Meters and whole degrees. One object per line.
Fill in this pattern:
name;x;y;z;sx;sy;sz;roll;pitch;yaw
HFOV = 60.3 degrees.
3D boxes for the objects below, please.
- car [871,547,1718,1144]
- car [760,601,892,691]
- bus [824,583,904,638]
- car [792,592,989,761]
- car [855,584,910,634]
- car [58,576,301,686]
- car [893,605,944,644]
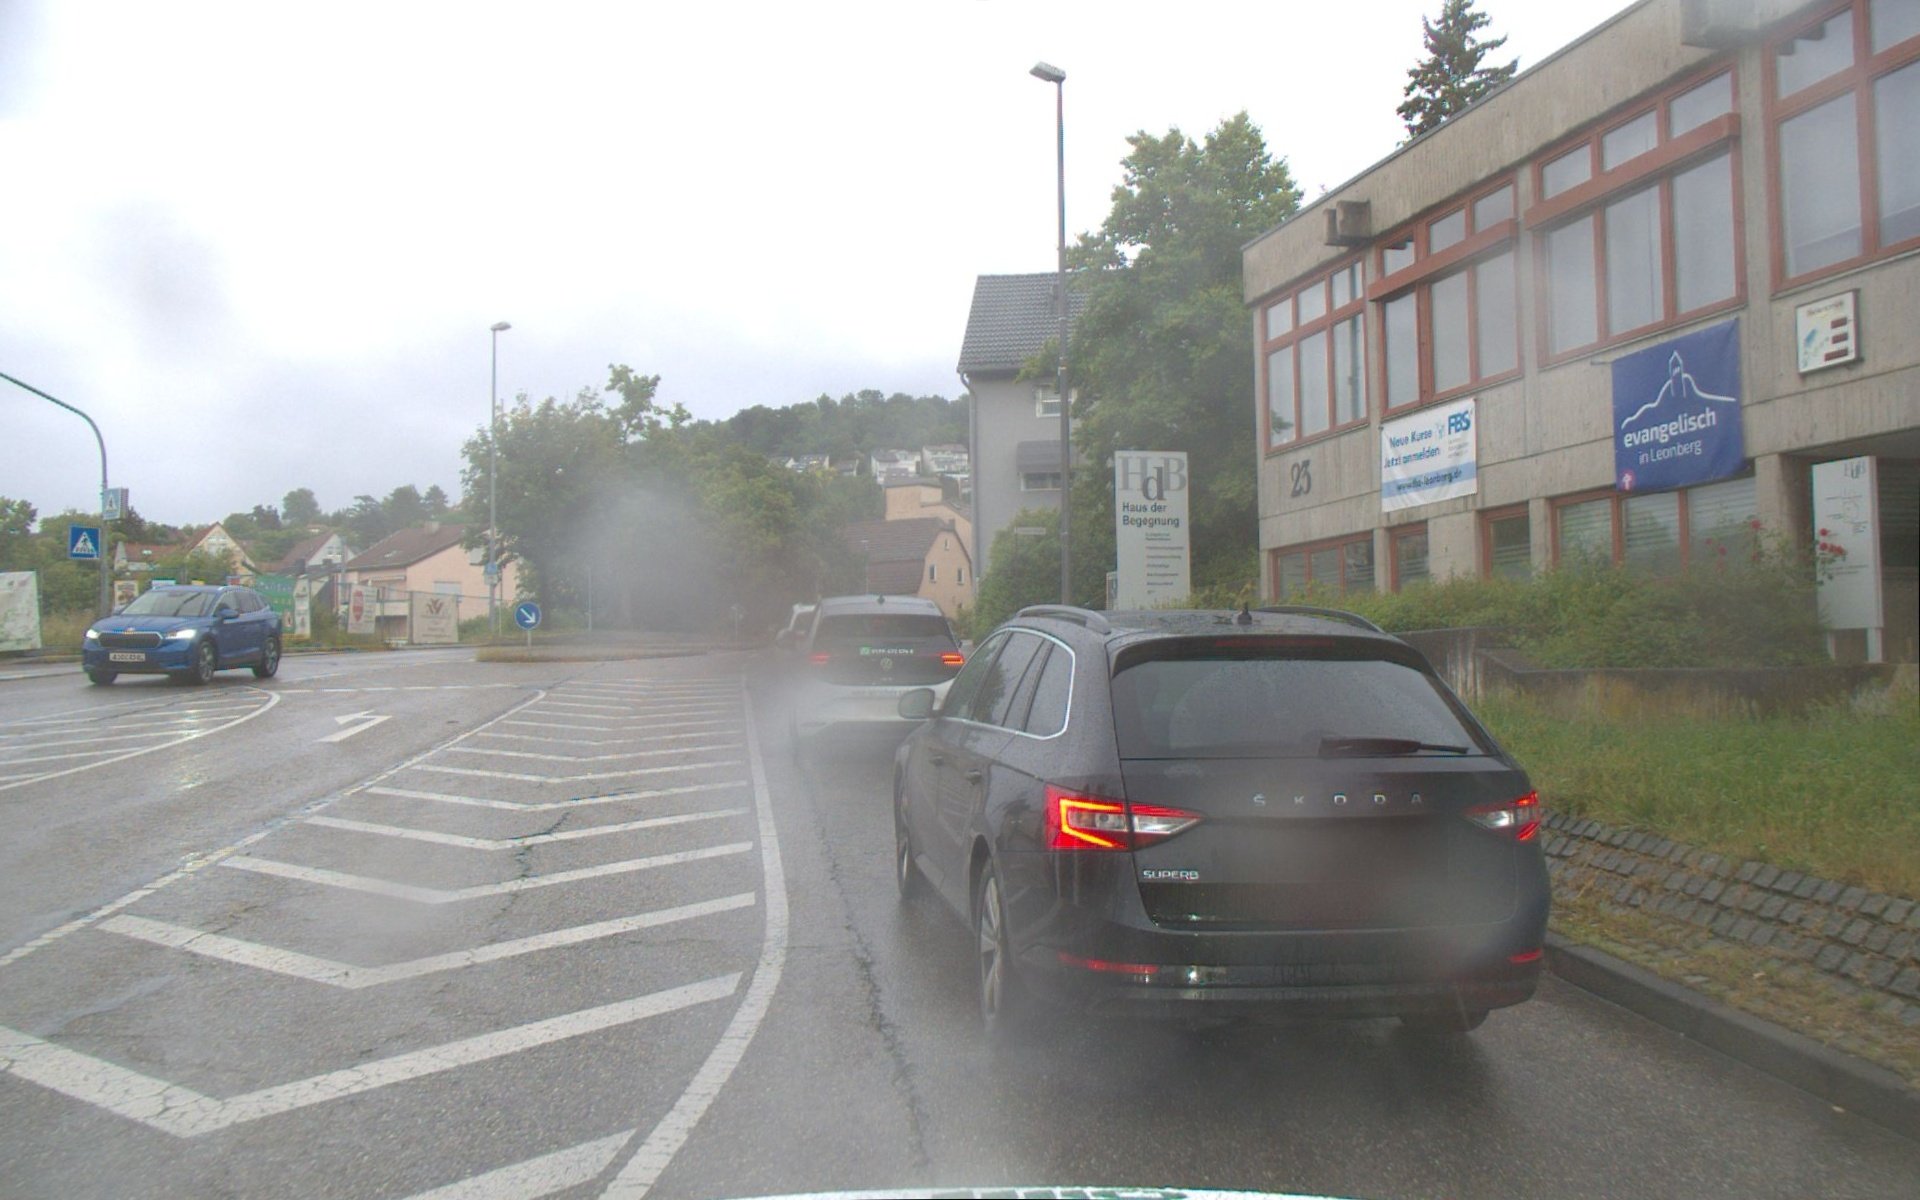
car;0.812;0.705;6.687;1.917;1.534;4.600;2;-1;-8
car;-2.405;0.782;28.772;1.815;1.434;4.289;0;-1;-11
bus;-4.881;0.522;85.638;2.345;2.723;7.053;-1;0;12
car;-0.759;0.736;17.131;1.792;1.526;4.165;0;-1;-4
car;-2.453;0.277;53.199;1.535;1.557;4.000;0;0;0
car;-13.321;0.544;28.599;1.953;1.723;4.704;1;-1;0
car;-1.709;1.027;69.209;1.953;1.478;3.771;-3;-1;1
